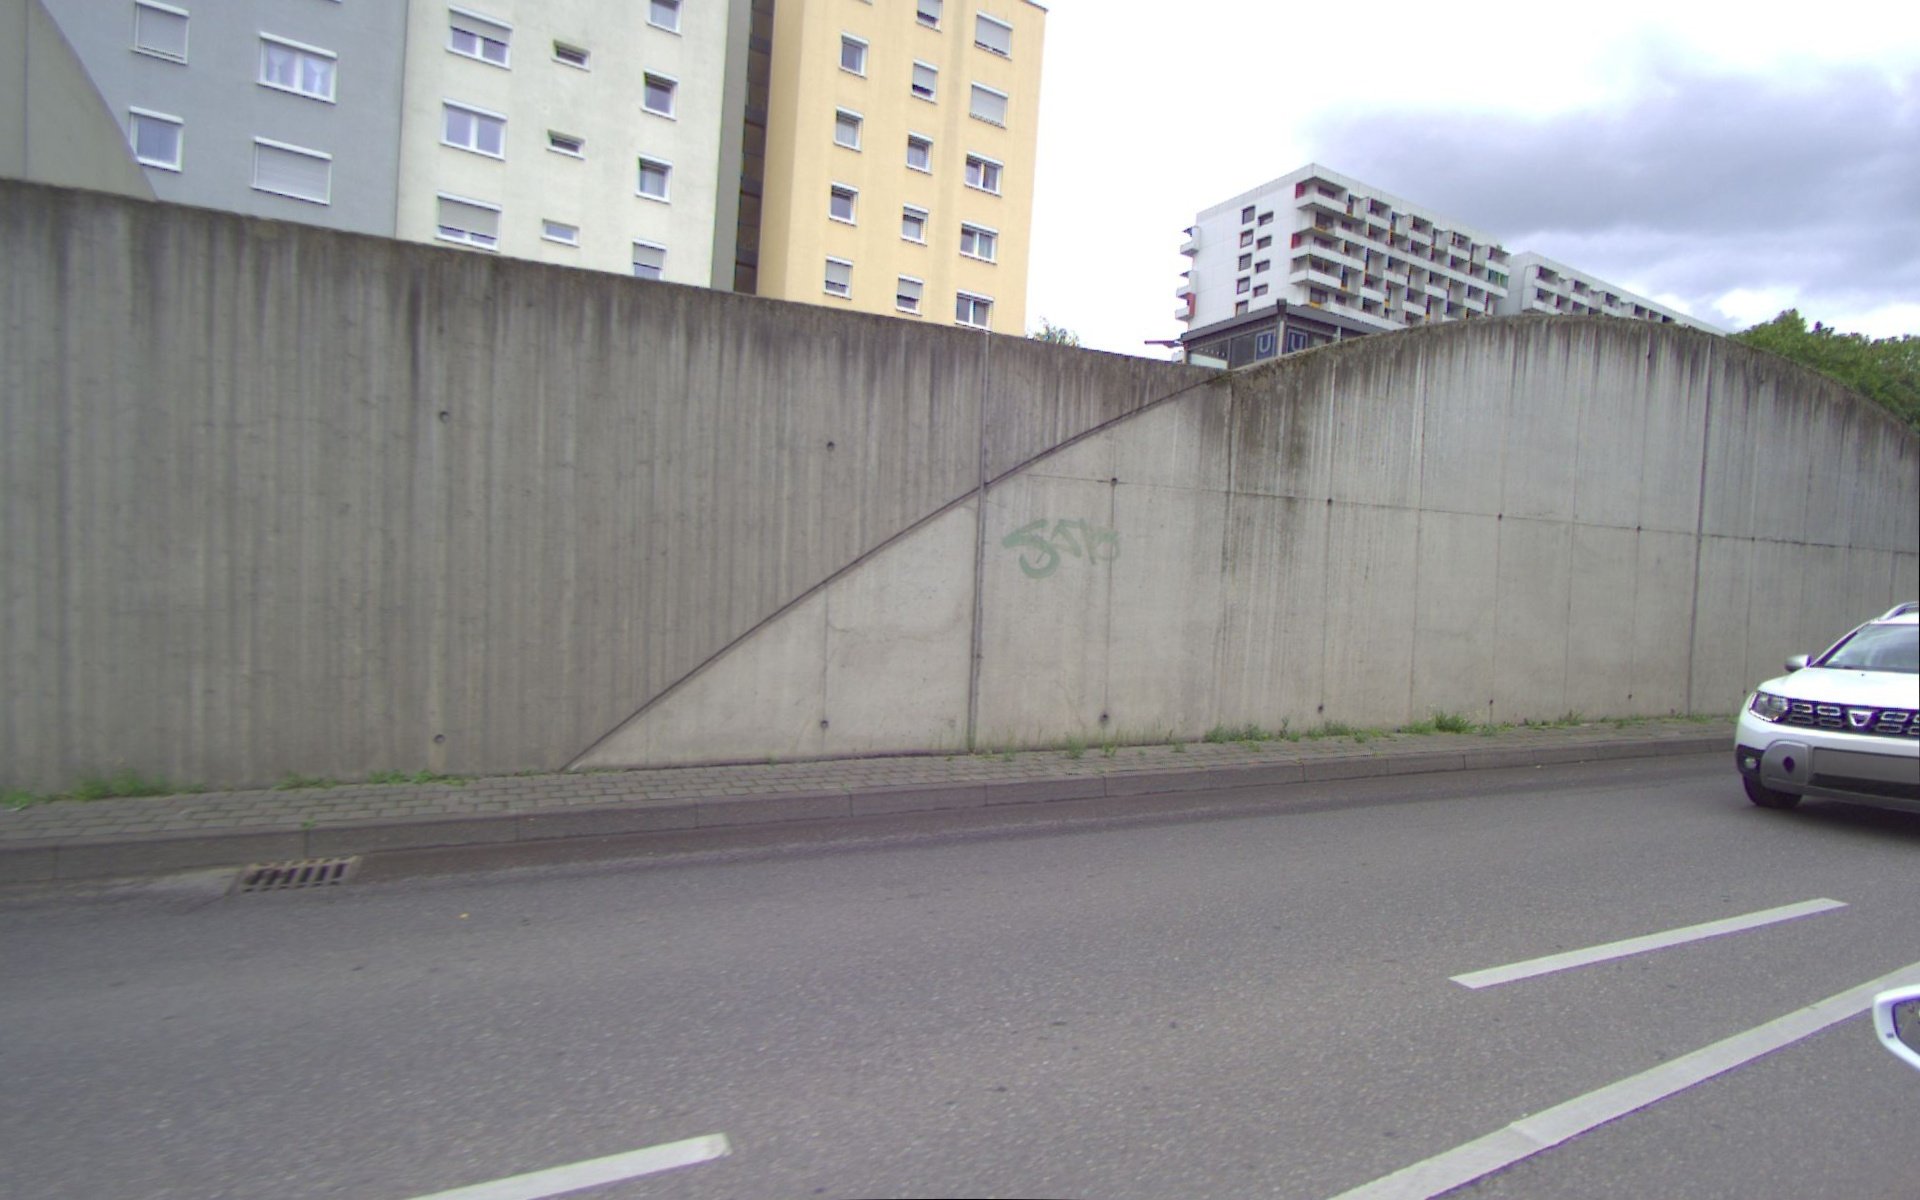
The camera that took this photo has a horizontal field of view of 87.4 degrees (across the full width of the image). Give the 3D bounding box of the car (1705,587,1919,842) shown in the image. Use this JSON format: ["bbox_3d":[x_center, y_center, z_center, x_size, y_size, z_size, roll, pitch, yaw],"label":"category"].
[{"bbox_3d":[7.988,0.788,7.895,4.157,1.654,1.853,1,1,-29],"label":"car"}]
